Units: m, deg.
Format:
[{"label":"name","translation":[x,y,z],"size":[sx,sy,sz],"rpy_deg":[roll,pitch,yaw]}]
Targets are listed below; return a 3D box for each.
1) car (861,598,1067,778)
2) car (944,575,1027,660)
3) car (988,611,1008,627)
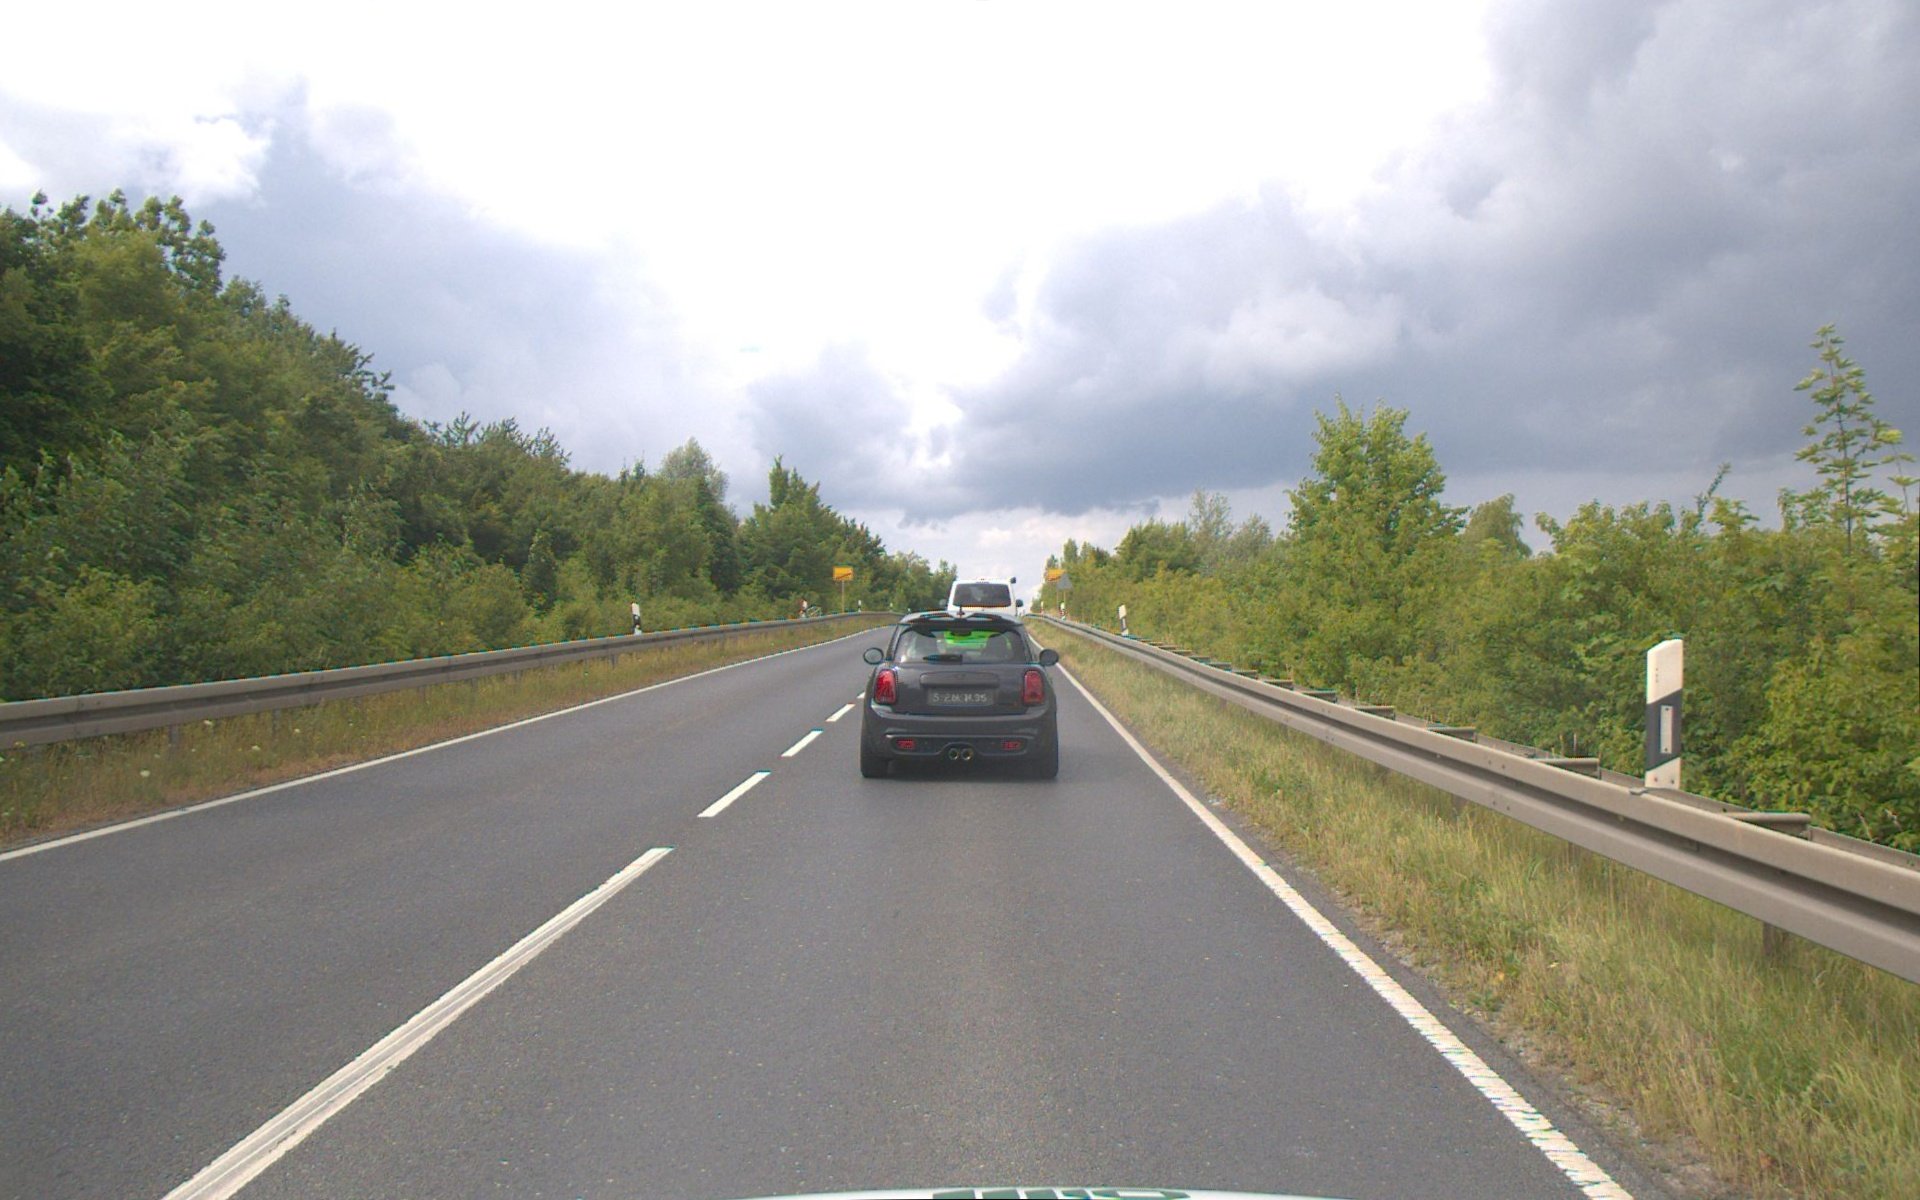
[{"label":"car","translation":[-0.042,0.733,15.660],"size":[1.697,1.481,3.998],"rpy_deg":[0,0,-2]},{"label":"car","translation":[0.687,0.422,42.221],"size":[1.980,2.048,4.001],"rpy_deg":[1,0,2]},{"label":"car","translation":[3.385,1.679,147.702],"size":[1.659,1.342,4.002],"rpy_deg":[-2,0,3]}]
